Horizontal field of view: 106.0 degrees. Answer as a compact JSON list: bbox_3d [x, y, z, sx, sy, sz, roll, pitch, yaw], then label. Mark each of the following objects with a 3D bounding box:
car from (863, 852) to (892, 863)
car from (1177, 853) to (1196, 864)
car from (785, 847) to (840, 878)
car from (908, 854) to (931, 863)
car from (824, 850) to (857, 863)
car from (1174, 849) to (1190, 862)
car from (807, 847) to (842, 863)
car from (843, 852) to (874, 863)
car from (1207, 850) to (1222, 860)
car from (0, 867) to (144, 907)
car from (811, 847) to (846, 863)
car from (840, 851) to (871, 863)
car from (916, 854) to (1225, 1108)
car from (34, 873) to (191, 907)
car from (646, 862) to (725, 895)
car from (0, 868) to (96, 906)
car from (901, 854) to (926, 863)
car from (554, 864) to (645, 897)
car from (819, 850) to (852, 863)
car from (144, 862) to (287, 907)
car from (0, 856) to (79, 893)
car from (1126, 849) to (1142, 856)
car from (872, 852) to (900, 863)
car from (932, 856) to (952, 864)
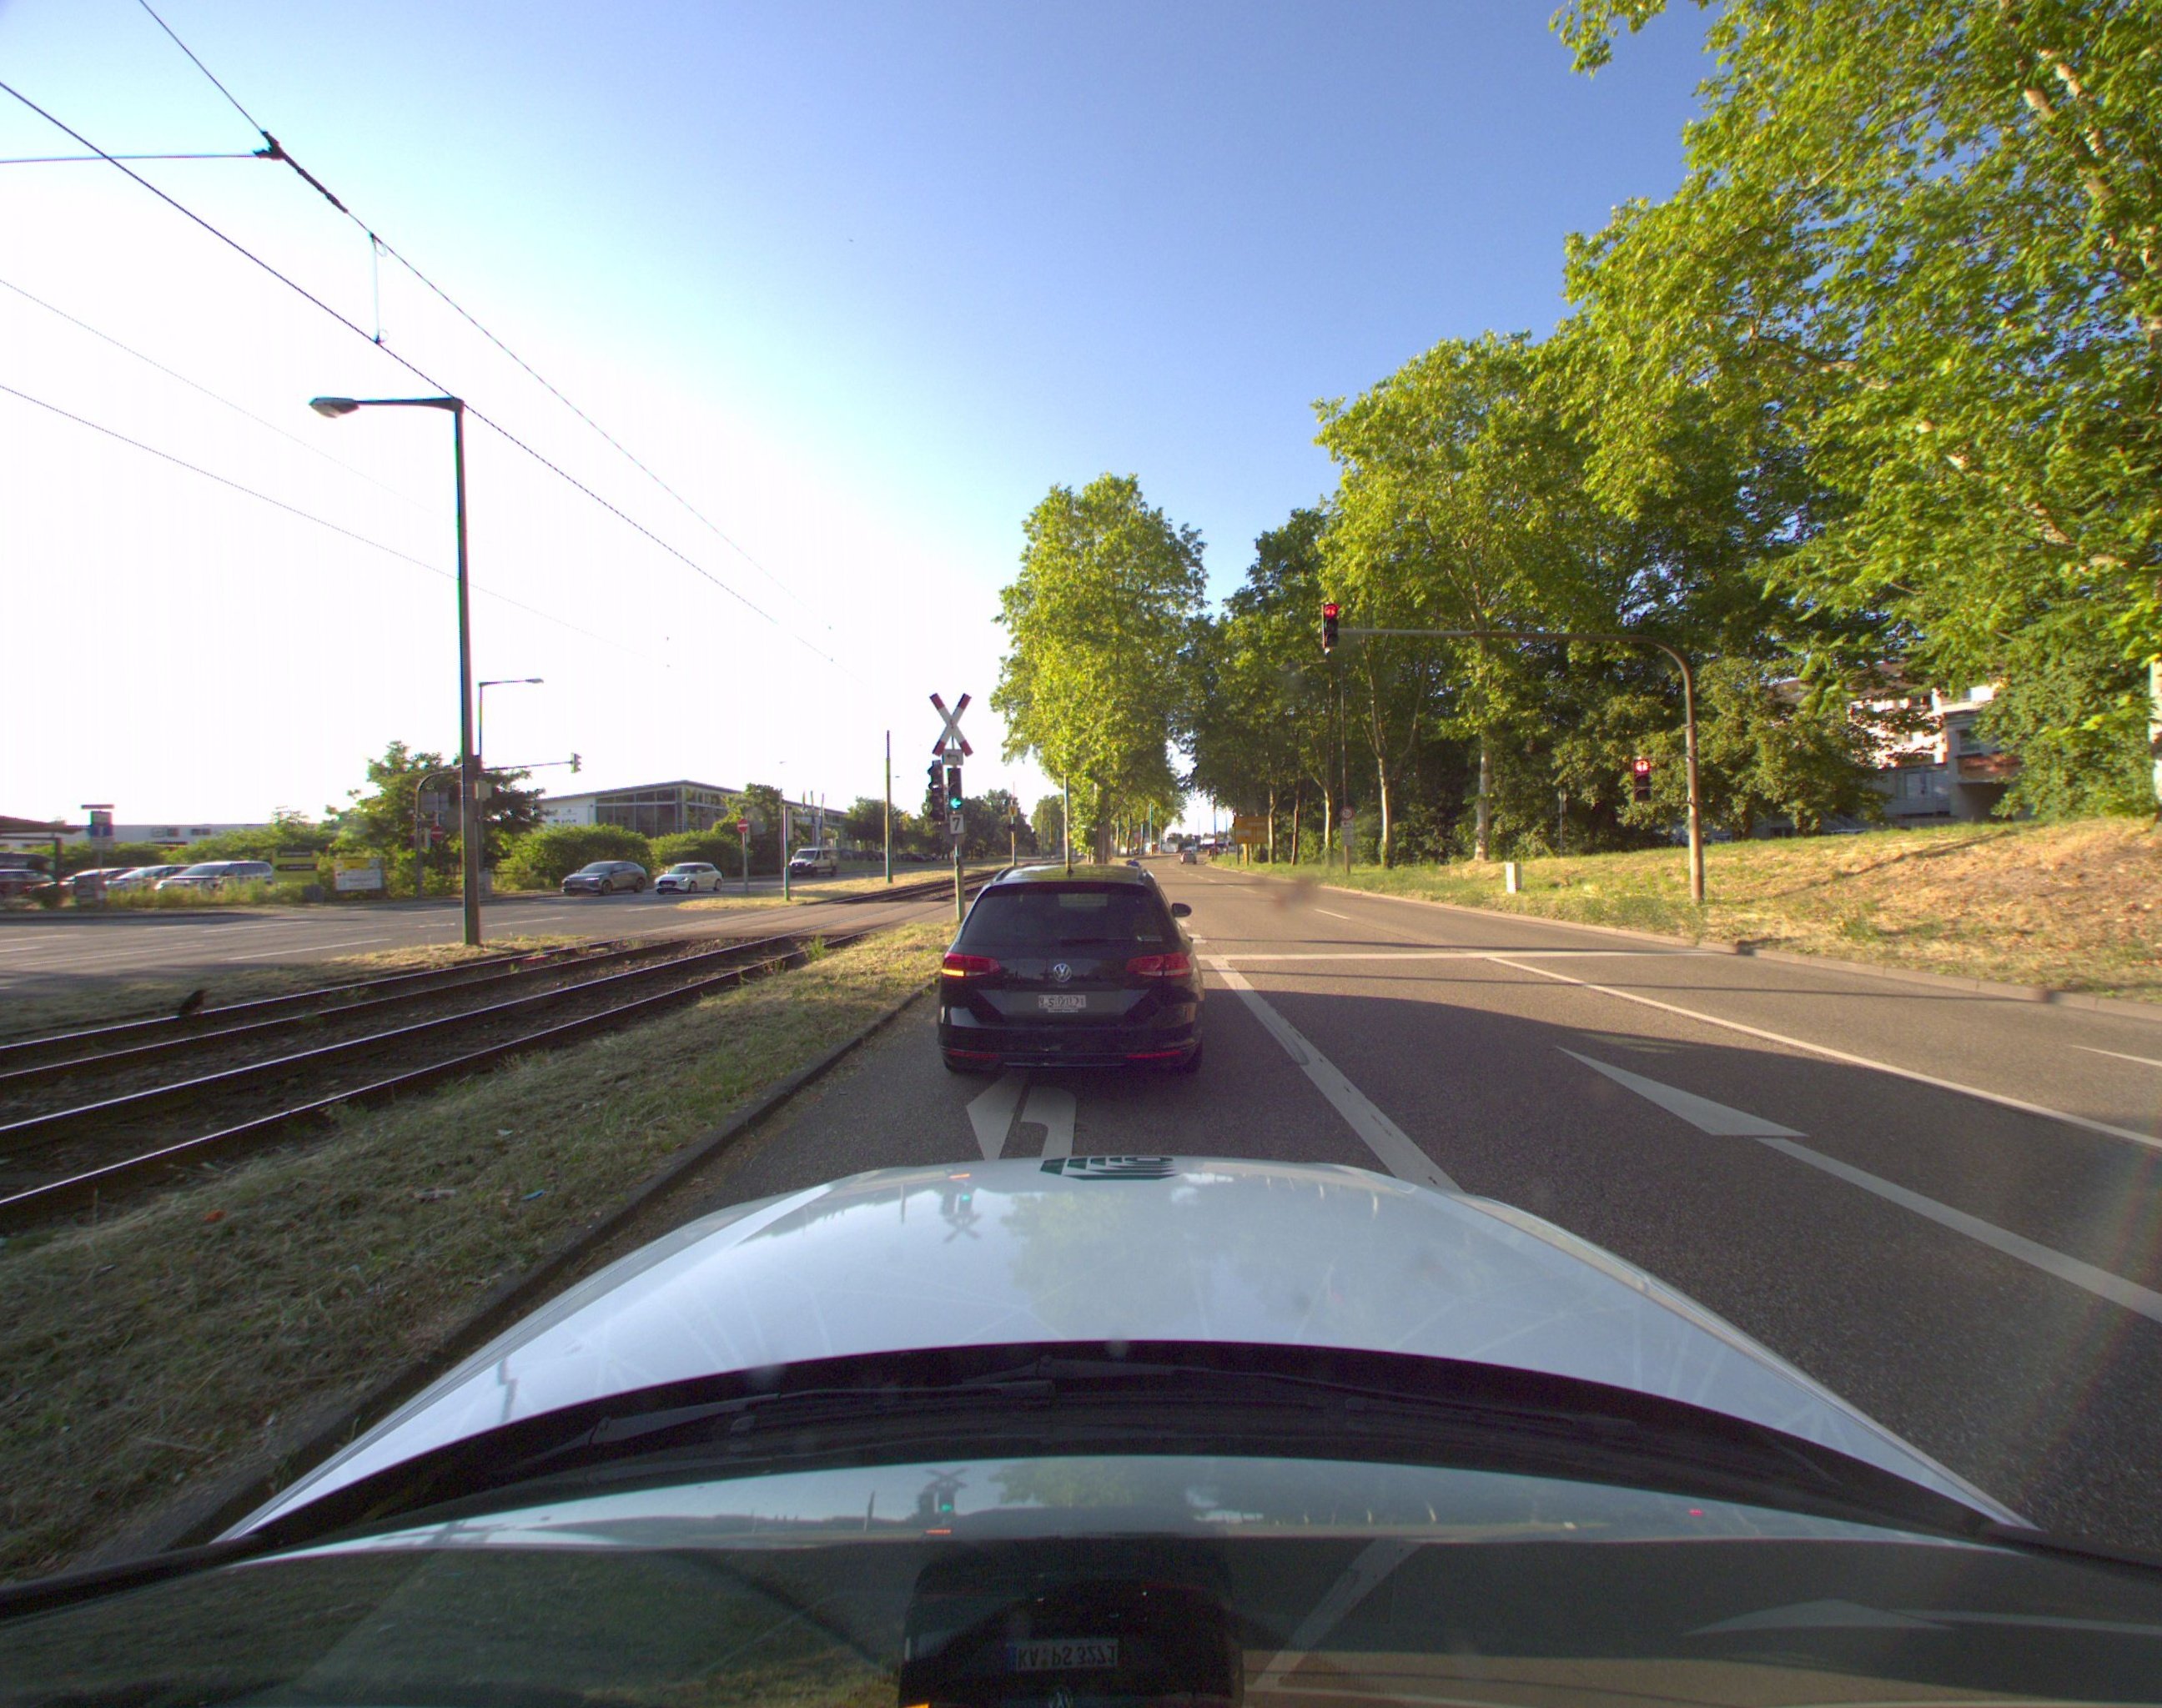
[{"bbox_3d":[-30.606,0.542,122.749,3.978,1.621,1.742,-1,0,-3],"label":"car"},{"bbox_3d":[11.798,0.488,91.017,1.603,1.294,3.983,0,0,1],"label":"car"},{"bbox_3d":[-22.279,0.624,67.824,2.084,2.461,5.864,0,0,7],"label":"car"},{"bbox_3d":[-29.103,0.864,146.843,3.978,1.621,1.742,-1,0,-3],"label":"car"},{"bbox_3d":[-31.364,0.341,106.212,3.999,1.556,1.732,-1,0,-19],"label":"car"},{"bbox_3d":[12.907,0.230,104.381,1.701,1.561,4.168,-1,0,2],"label":"car"},{"bbox_3d":[-31.644,0.126,100.522,3.999,1.816,1.732,-1,0,-19],"label":"car"},{"bbox_3d":[-31.436,0.472,115.317,3.983,1.556,1.739,-1,0,-7],"label":"car"},{"bbox_3d":[22.609,0.198,137.814,1.858,1.635,4.388,2,0,15],"label":"car"},{"bbox_3d":[-44.710,1.397,35.895,1.855,1.583,4.174,0,0,2],"label":"car"},{"bbox_3d":[-30.601,0.125,98.741,3.999,1.816,1.732,-1,0,-19],"label":"car"},{"bbox_3d":[-31.227,0.434,112.610,3.999,1.556,1.732,-1,0,-19],"label":"car"},{"bbox_3d":[-0.018,0.739,6.526,1.788,1.464,3.584,0,0,1],"label":"car"},{"bbox_3d":[-42.470,1.556,35.892,1.855,1.267,4.174,0,0,2],"label":"car"},{"bbox_3d":[-19.767,1.184,40.900,1.855,1.481,4.093,0,0,2],"label":"car"},{"bbox_3d":[-47.159,1.445,36.048,1.970,1.583,4.174,0,0,2],"label":"car"},{"bbox_3d":[-28.763,0.765,139.674,3.978,1.621,1.742,-1,0,-3],"label":"car"},{"bbox_3d":[-23.879,1.277,40.600,1.854,1.481,4.176,0,0,3],"label":"car"},{"bbox_3d":[-31.150,0.297,103.421,3.999,1.556,1.732,-1,0,-19],"label":"car"},{"bbox_3d":[-38.523,1.316,36.414,1.855,1.821,4.174,0,0,2],"label":"car"},{"bbox_3d":[-60.421,1.144,45.908,1.855,2.014,4.773,0,0,2],"label":"car"},{"bbox_3d":[10.544,-0.284,161.171,1.976,1.420,4.022,-1,0,23],"label":"car"},{"bbox_3d":[-30.117,0.586,125.951,3.978,1.621,1.742,-1,0,-3],"label":"car"},{"bbox_3d":[-28.809,1.182,168.923,3.977,1.556,1.742,-1,0,-2],"label":"car"}]
